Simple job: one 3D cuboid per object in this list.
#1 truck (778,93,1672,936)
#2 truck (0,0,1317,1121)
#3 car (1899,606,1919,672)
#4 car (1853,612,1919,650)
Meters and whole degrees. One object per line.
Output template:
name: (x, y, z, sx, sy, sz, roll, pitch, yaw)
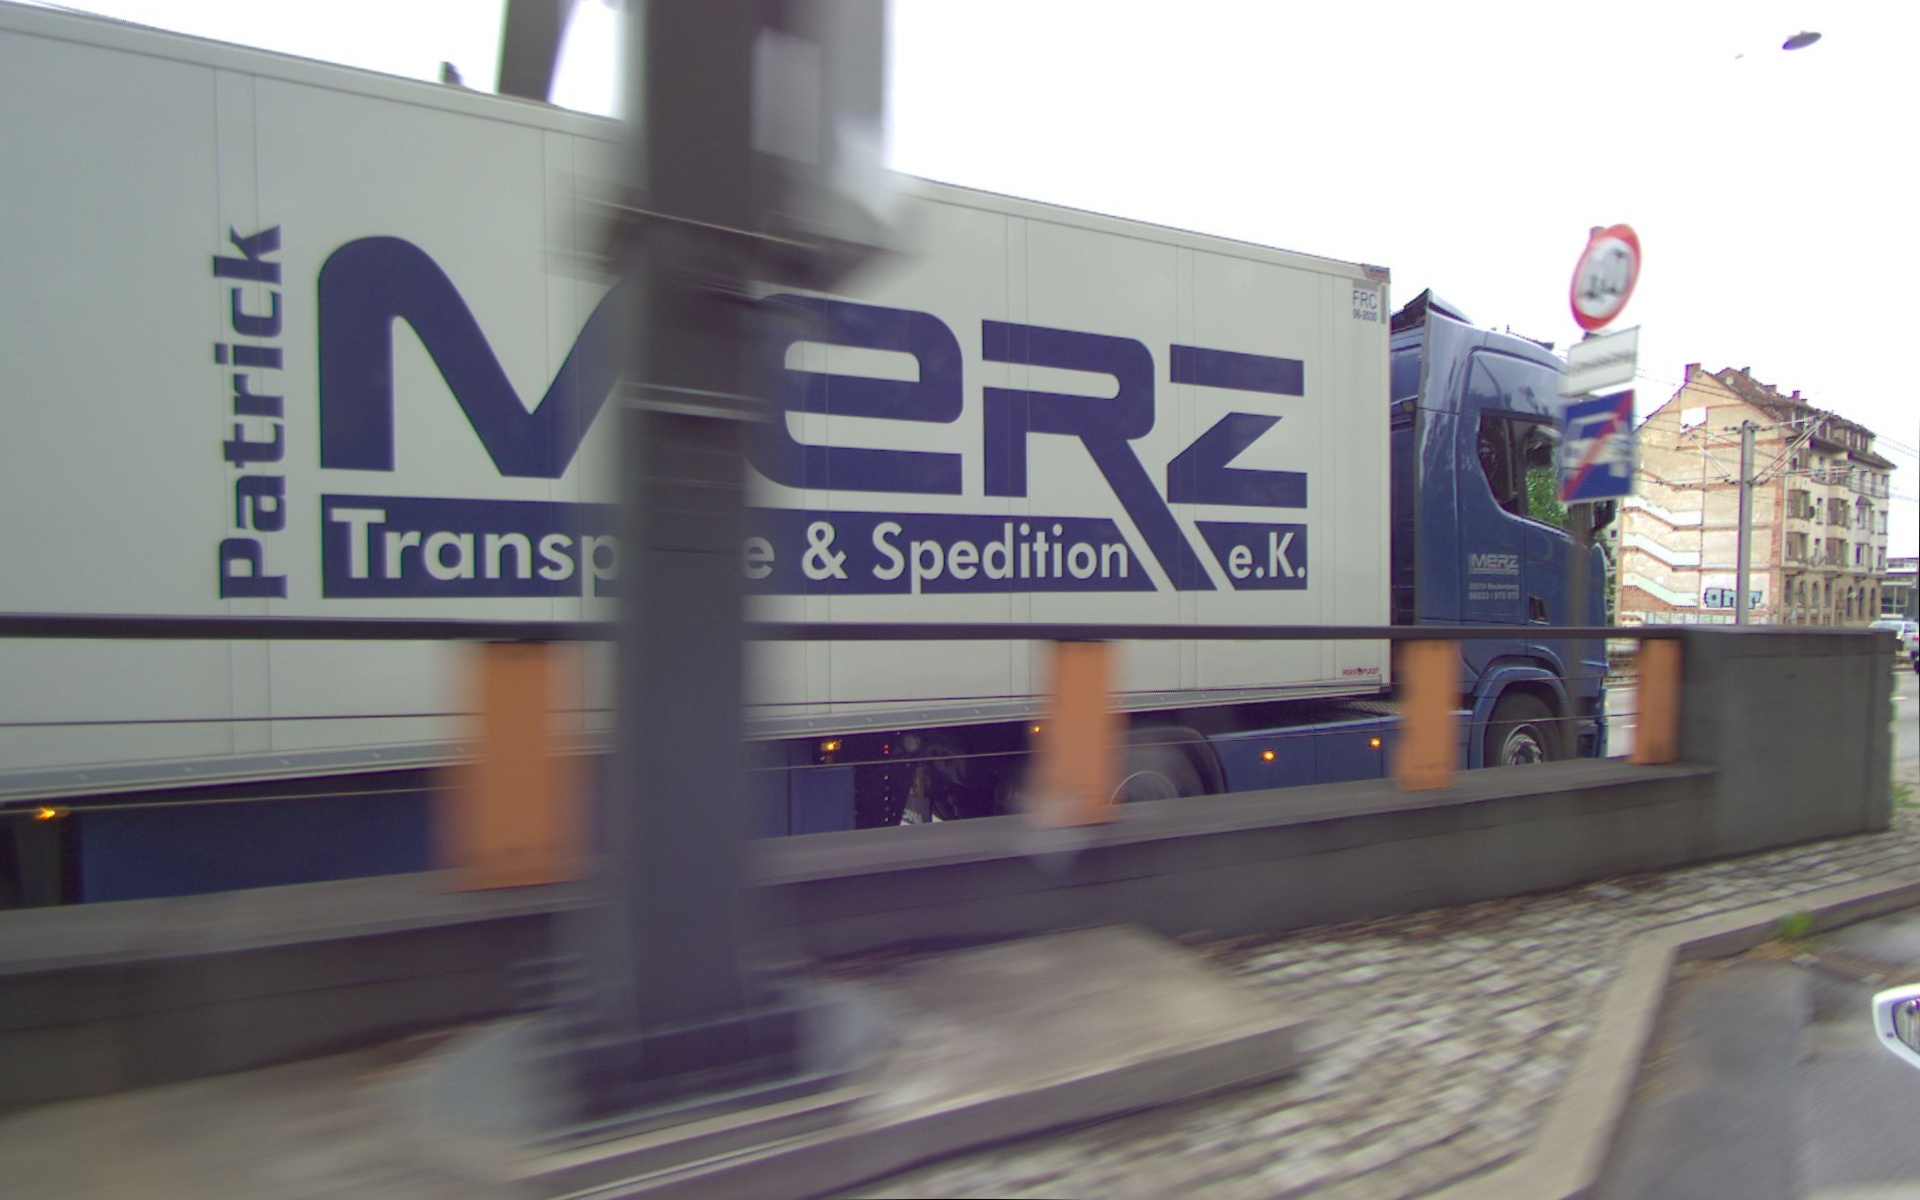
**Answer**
truck: (2.262, -0.347, 7.893, 6.700, 4.253, 2.751, 2, -1, -29)
truck: (-4.149, -0.351, 4.530, 12.863, 4.253, 2.752, 2, -1, -27)
car: (25.325, 1.010, 24.866, 4.039, 1.586, 1.814, 2, -2, -27)
car: (59.138, 2.018, 64.098, 5.058, 2.146, 1.981, 3, 1, -34)
